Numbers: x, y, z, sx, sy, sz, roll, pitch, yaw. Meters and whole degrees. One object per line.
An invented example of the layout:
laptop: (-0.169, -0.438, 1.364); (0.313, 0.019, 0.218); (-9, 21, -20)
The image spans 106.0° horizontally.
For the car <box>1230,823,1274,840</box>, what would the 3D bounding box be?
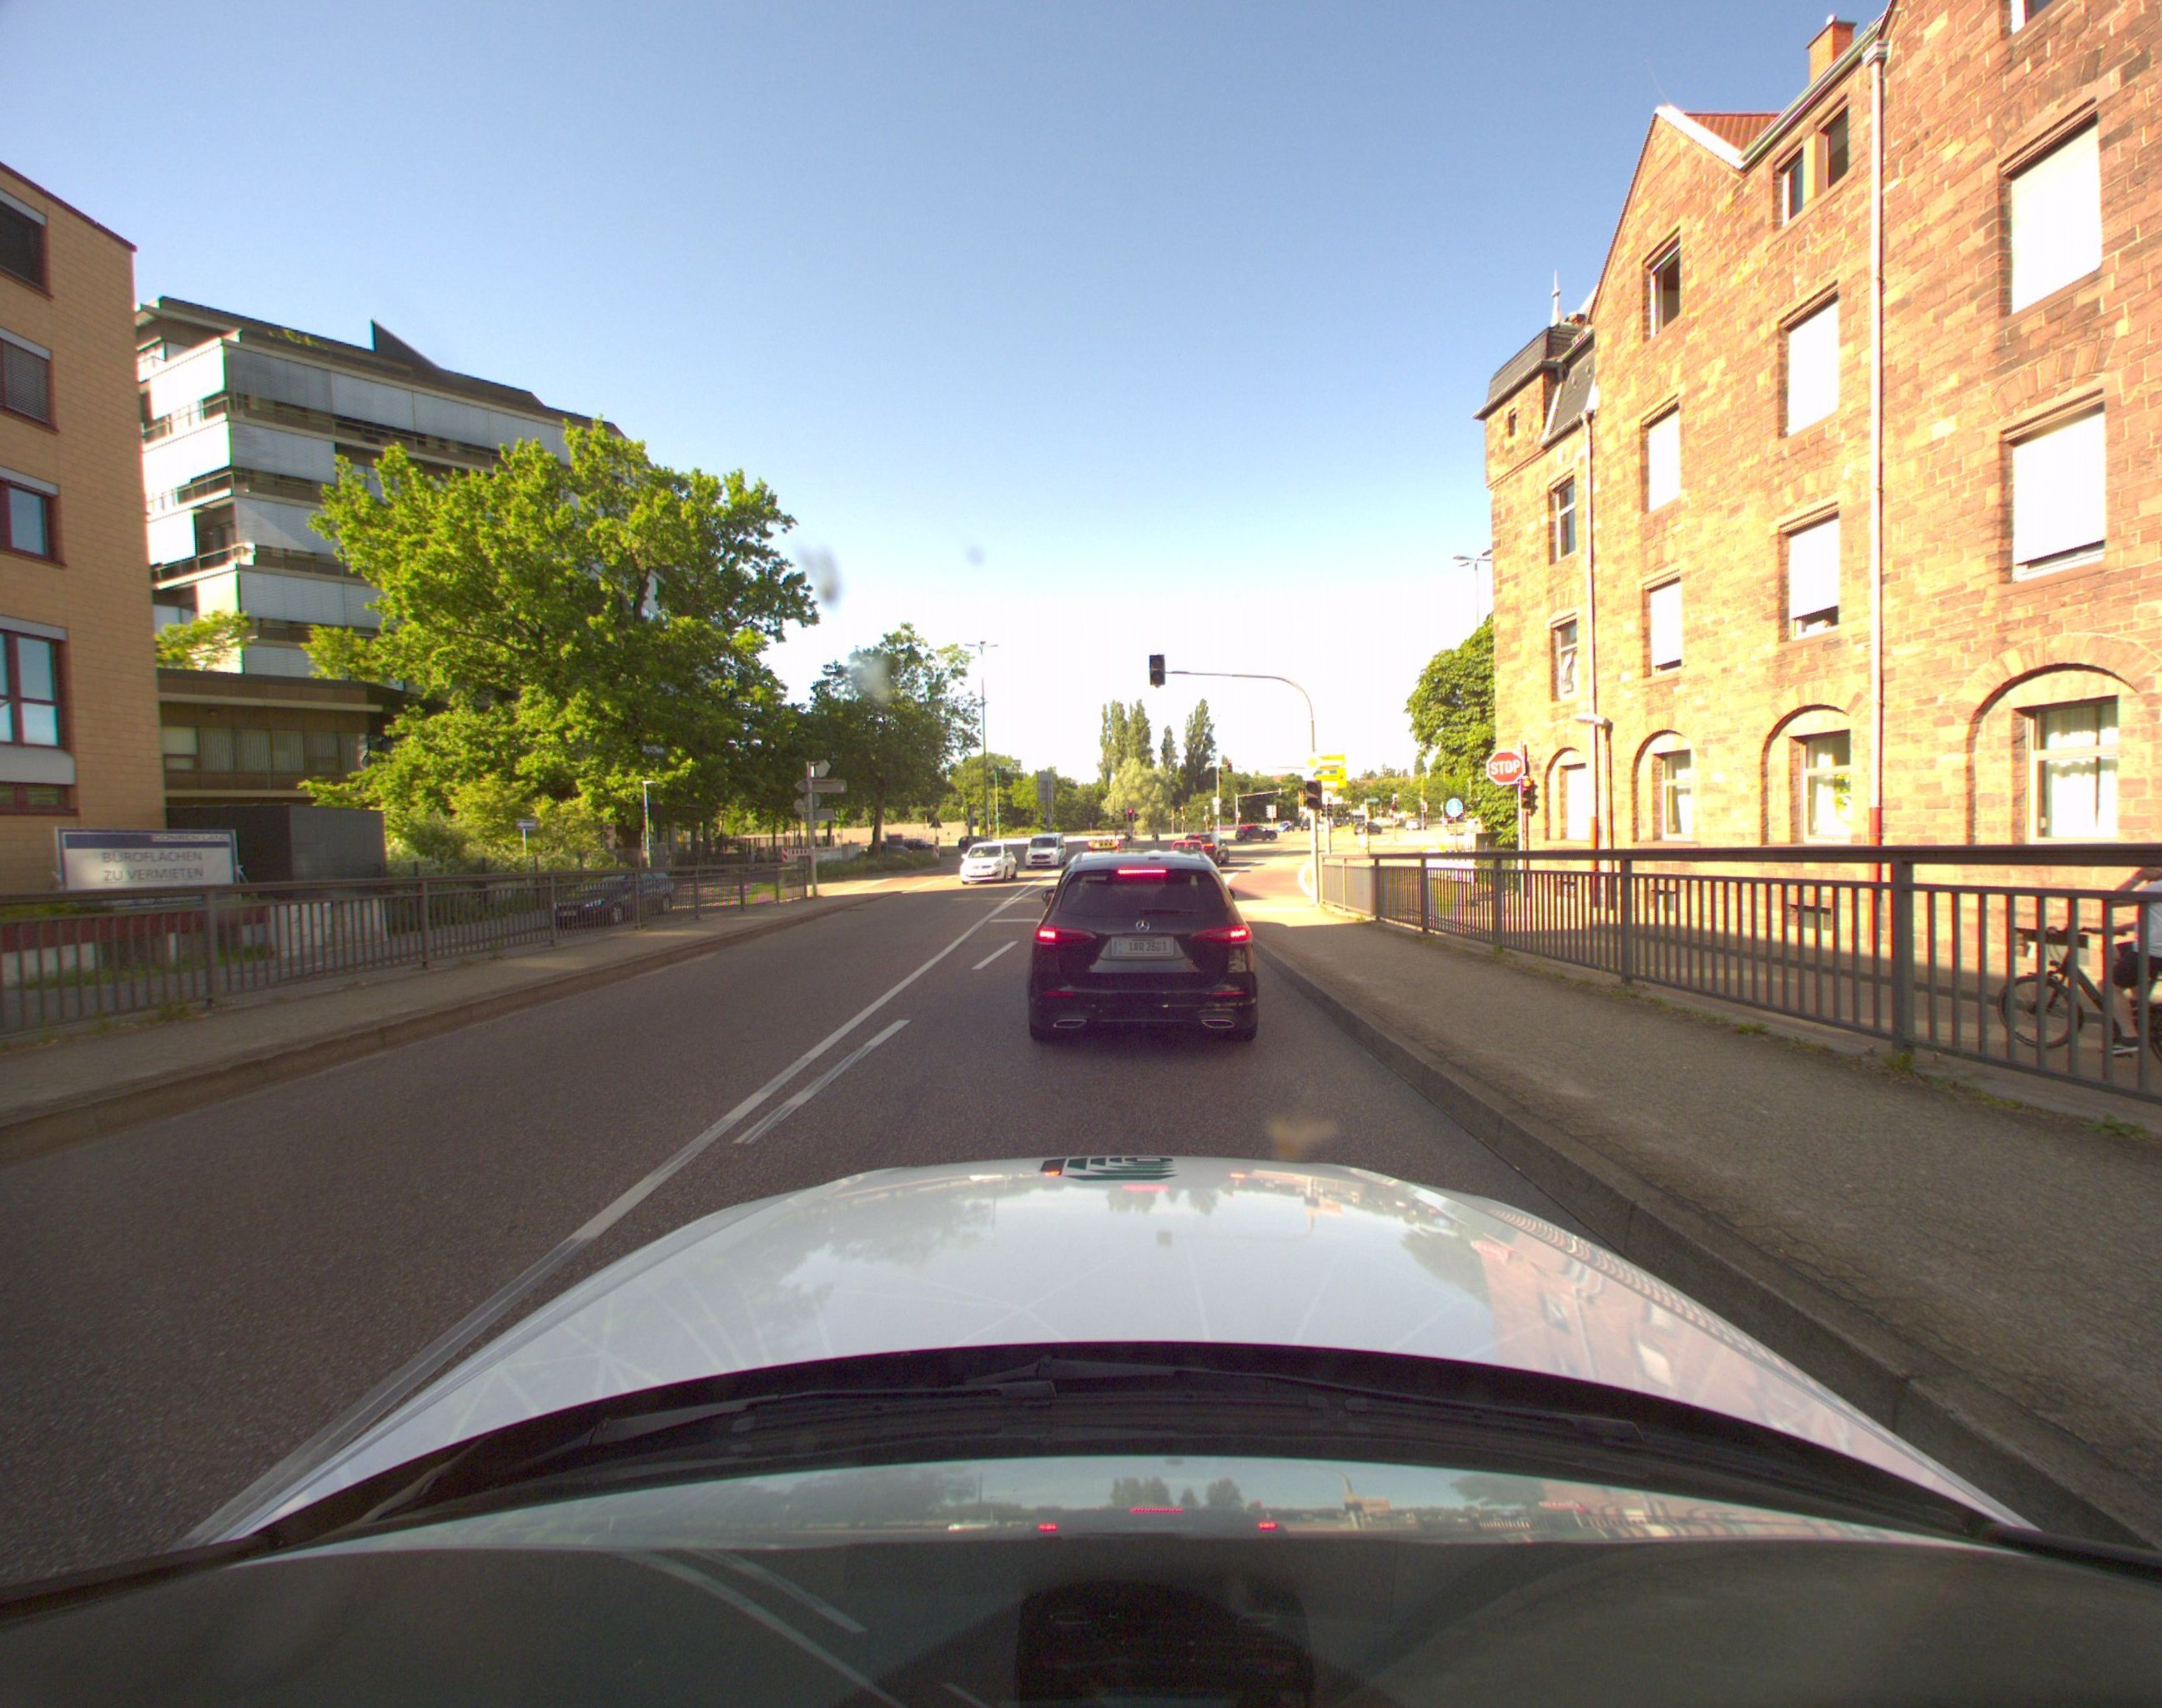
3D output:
car: (17.088, -2.243, 81.336); (4.011, 1.629, 1.873); (-3, 1, -29)

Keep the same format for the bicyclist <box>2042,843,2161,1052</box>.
bicyclist: (8.624, 0.717, 6.664); (0.684, 1.608, 0.696); (0, 1, -2)

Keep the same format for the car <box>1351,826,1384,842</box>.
car: (31.934, -2.211, 90.781); (1.867, 1.629, 4.024); (-1, 2, 44)

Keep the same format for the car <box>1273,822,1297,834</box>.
car: (29.484, -3.757, 117.472); (1.860, 1.578, 4.026); (-1, 2, 37)

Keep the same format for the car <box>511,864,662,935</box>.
car: (-14.324, 1.234, 23.879); (1.845, 1.692, 4.002); (-2, 2, 1)

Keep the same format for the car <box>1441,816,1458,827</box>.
car: (61.802, -5.455, 136.377); (1.866, 1.547, 4.025); (-1, -1, 35)

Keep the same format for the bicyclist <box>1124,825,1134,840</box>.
bicyclist: (5.126, -2.282, 86.539); (0.809, 1.551, 0.522); (-4, 1, -29)

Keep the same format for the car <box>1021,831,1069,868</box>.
car: (-1.890, -0.273, 44.302); (1.909, 1.794, 4.906); (-3, 2, 5)

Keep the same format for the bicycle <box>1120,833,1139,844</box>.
bicycle: (5.146, -1.680, 86.562); (1.995, 1.050, 0.522); (-4, 1, -29)

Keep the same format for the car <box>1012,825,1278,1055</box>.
car: (0.495, 0.589, 7.755); (1.871, 1.613, 4.001); (-1, 1, 1)

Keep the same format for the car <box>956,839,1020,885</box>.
car: (-3.698, 0.253, 33.118); (1.770, 1.635, 4.005); (-3, 1, 4)

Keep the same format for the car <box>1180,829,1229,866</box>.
car: (6.503, -0.375, 42.599); (1.707, 1.812, 4.319); (-2, 1, 19)

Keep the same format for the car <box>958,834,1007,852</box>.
car: (-9.732, -1.132, 80.452); (4.358, 1.629, 1.901); (-1, 1, 23)

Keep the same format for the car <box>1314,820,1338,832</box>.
car: (33.750, -3.841, 111.999); (1.860, 1.578, 4.026); (-1, 2, 37)

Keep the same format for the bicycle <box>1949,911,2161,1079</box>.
bicycle: (8.623, 1.144, 6.832); (0.686, 1.140, 1.837); (0, 1, -2)

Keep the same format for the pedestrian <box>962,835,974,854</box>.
pedestrian: (-9.129, -0.777, 65.820); (0.700, 1.525, 0.746); (-1, 1, 12)

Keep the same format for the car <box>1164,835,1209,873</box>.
car: (4.854, -0.045, 37.015); (1.710, 1.521, 3.499); (-1, 3, 12)

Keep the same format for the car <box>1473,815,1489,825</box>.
car: (65.642, -5.585, 133.725); (1.722, 1.498, 4.026); (-2, 0, 35)

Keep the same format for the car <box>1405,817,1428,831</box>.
car: (42.489, -3.771, 103.090); (1.866, 1.629, 4.026); (-1, 1, 34)

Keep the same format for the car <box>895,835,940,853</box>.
car: (-16.915, -1.033, 84.309); (4.355, 1.629, 1.903); (-1, 1, 29)

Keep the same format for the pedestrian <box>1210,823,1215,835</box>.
pedestrian: (19.151, -3.636, 118.518); (0.445, 1.585, 0.505); (-2, 1, 42)

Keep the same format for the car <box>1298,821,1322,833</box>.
car: (32.748, -3.798, 116.285); (1.860, 1.578, 4.026); (-1, 2, 37)

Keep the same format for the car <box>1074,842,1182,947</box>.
car: (0.844, 0.610, 14.497); (1.633, 1.529, 3.477); (-3, 1, 3)
